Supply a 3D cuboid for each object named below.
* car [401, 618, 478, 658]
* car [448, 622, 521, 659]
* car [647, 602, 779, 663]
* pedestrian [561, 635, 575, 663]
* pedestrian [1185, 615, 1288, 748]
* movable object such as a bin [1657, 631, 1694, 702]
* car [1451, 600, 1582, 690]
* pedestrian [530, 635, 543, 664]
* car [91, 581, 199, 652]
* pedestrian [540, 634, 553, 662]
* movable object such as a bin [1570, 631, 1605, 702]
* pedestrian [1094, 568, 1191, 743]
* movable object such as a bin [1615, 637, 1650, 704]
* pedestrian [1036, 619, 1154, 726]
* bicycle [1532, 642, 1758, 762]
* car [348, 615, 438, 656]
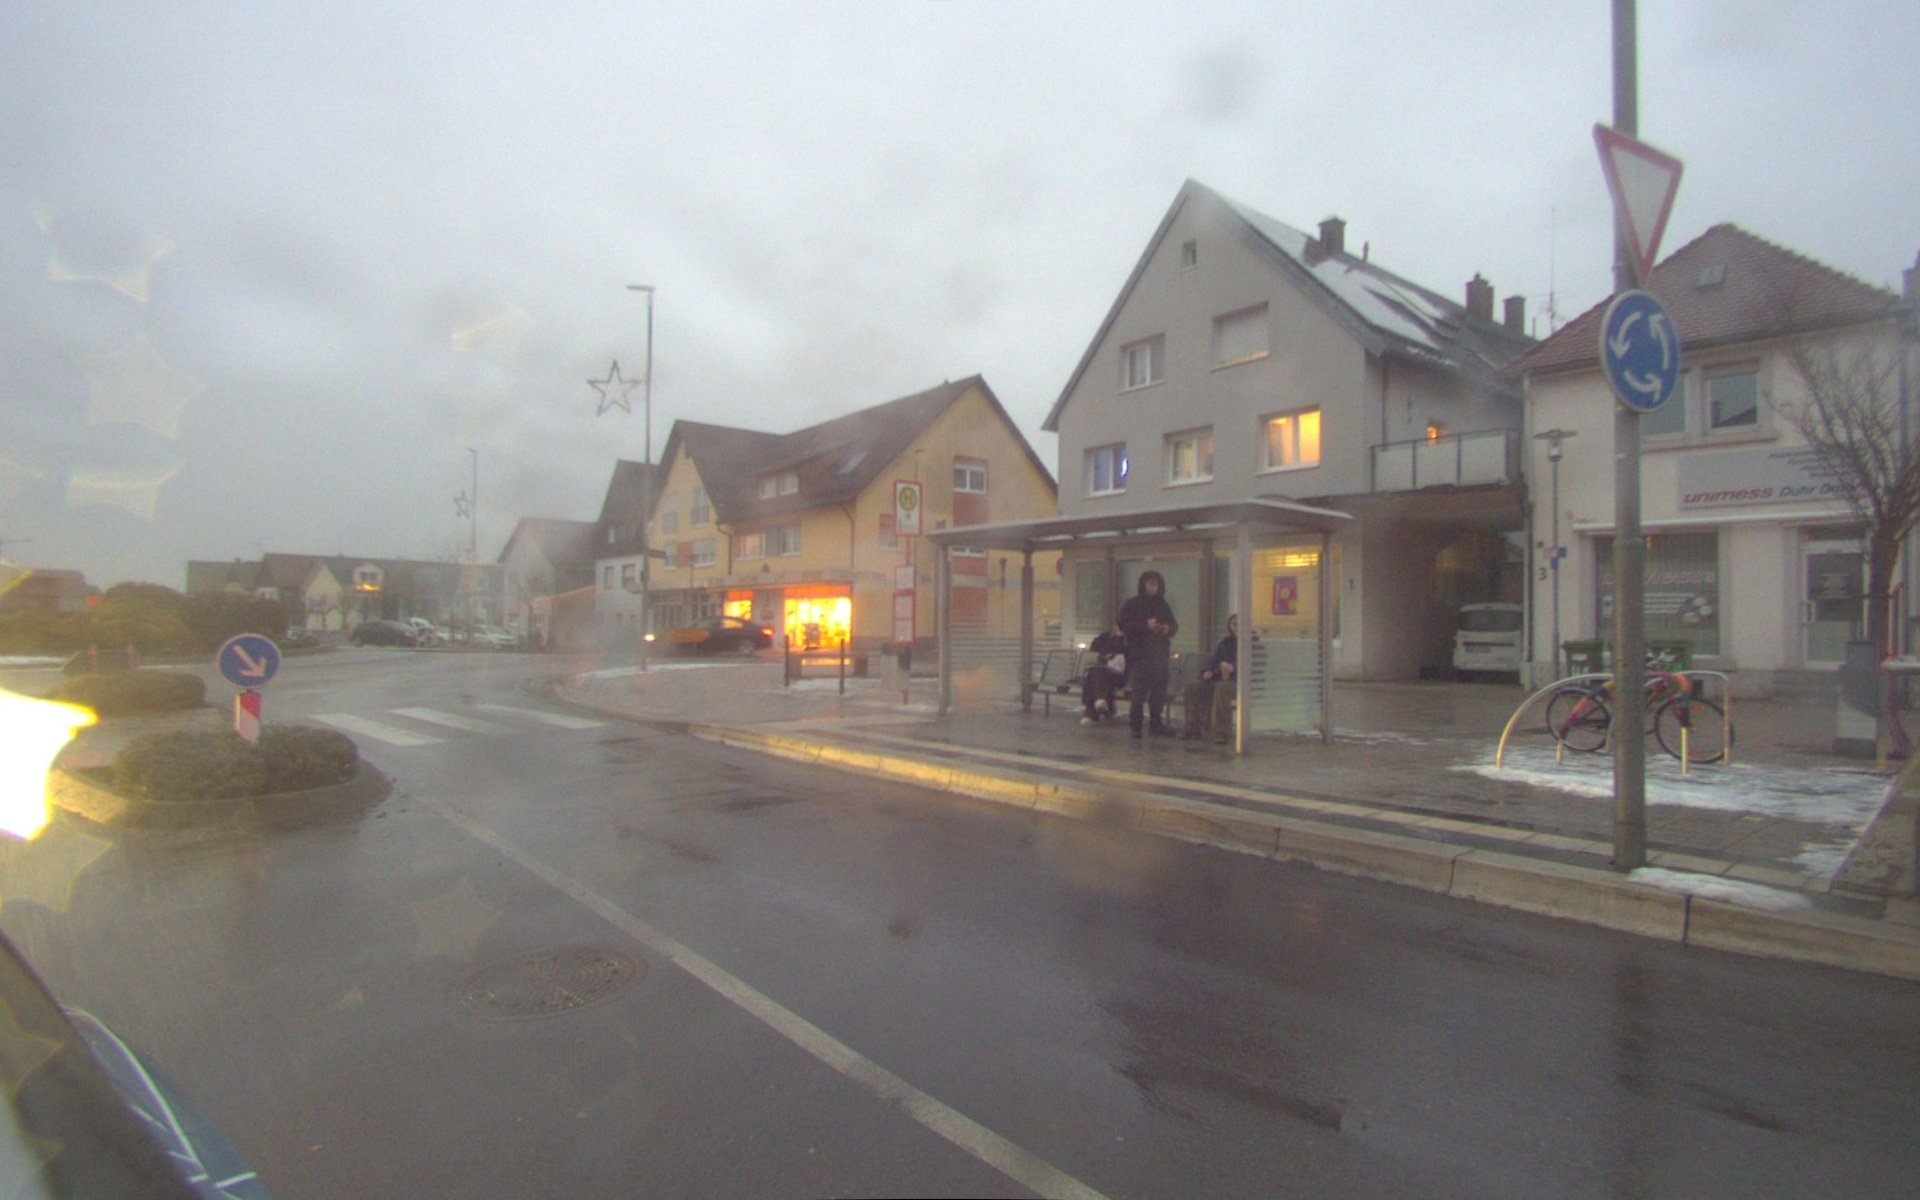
[{"bbox_3d":[-28.829,2.062,56.029,3.953,2.029,1.908,1,1,28],"label":"car"},{"bbox_3d":[-27.349,2.317,58.231,3.854,1.895,1.917,1,1,28],"label":"car"},{"bbox_3d":[-8.815,1.129,36.052,4.388,2.029,2.006,0,1,-18],"label":"car"},{"bbox_3d":[-23.424,2.912,60.474,0.574,1.623,0.500,0,1,-44],"label":"pedestrian"},{"bbox_3d":[2.825,0.804,10.342,0.677,1.281,0.751,0,-1,-44],"label":"pedestrian"},{"bbox_3d":[12.159,1.120,17.208,0.284,1.151,0.454,0,1,-44],"label":"movable object such as a bin"},{"bbox_3d":[12.601,0.976,22.853,3.373,1.867,1.516,2,-1,-40],"label":"car"},{"bbox_3d":[-24.908,2.900,59.506,0.574,1.623,0.500,0,1,-44],"label":"pedestrian"},{"bbox_3d":[-25.095,0.448,31.317,2.024,2.002,4.551,0,1,-32],"label":"car"},{"bbox_3d":[-24.654,2.874,60.285,0.574,1.623,0.500,0,1,-44],"label":"pedestrian"},{"bbox_3d":[11.271,1.188,18.186,0.284,1.219,0.454,0,1,-44],"label":"movable object such as a bin"},{"bbox_3d":[1.921,0.563,10.634,0.687,1.755,0.740,-2,-1,41],"label":"pedestrian"},{"bbox_3d":[11.748,1.225,17.681,0.284,1.129,0.454,0,1,-44],"label":"movable object such as a bin"},{"bbox_3d":[1.573,0.828,11.831,0.976,1.167,0.903,0,-3,-39],"label":"pedestrian"},{"bbox_3d":[6.496,0.921,9.694,0.463,1.018,1.744,1,-2,-32],"label":"bicycle"},{"bbox_3d":[-30.067,1.865,53.684,3.963,2.010,1.962,1,1,15],"label":"car"}]
